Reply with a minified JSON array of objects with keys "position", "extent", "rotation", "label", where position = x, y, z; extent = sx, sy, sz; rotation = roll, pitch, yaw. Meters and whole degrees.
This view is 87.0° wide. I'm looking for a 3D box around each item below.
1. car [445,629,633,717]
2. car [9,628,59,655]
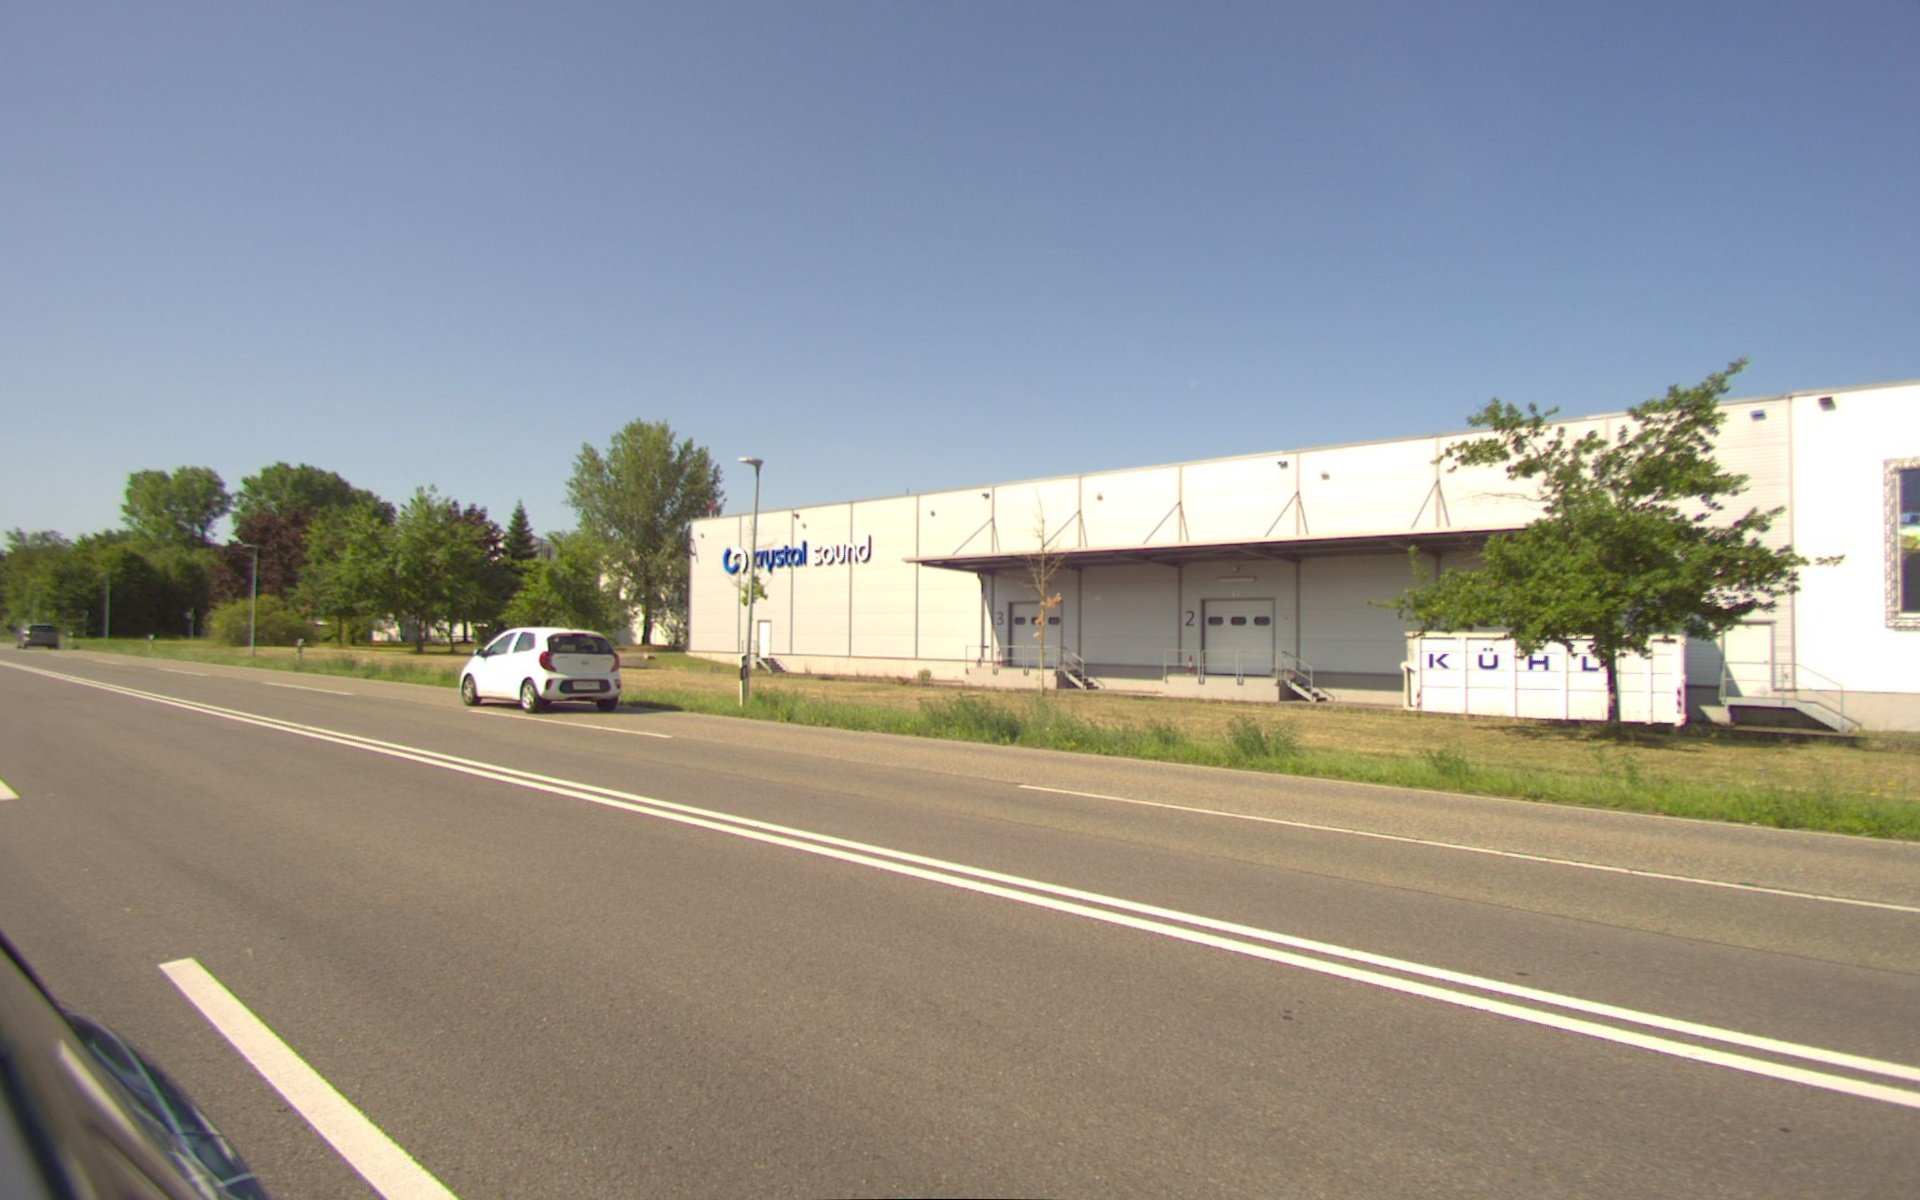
[{"position":[-7.789,1.294,18.602],"extent":[3.733,1.448,1.642],"rotation":[-1,-5,41],"label":"car"},{"position":[-57.446,2.562,62.762],"extent":[4.213,1.573,1.711],"rotation":[-2,-5,41],"label":"car"}]
